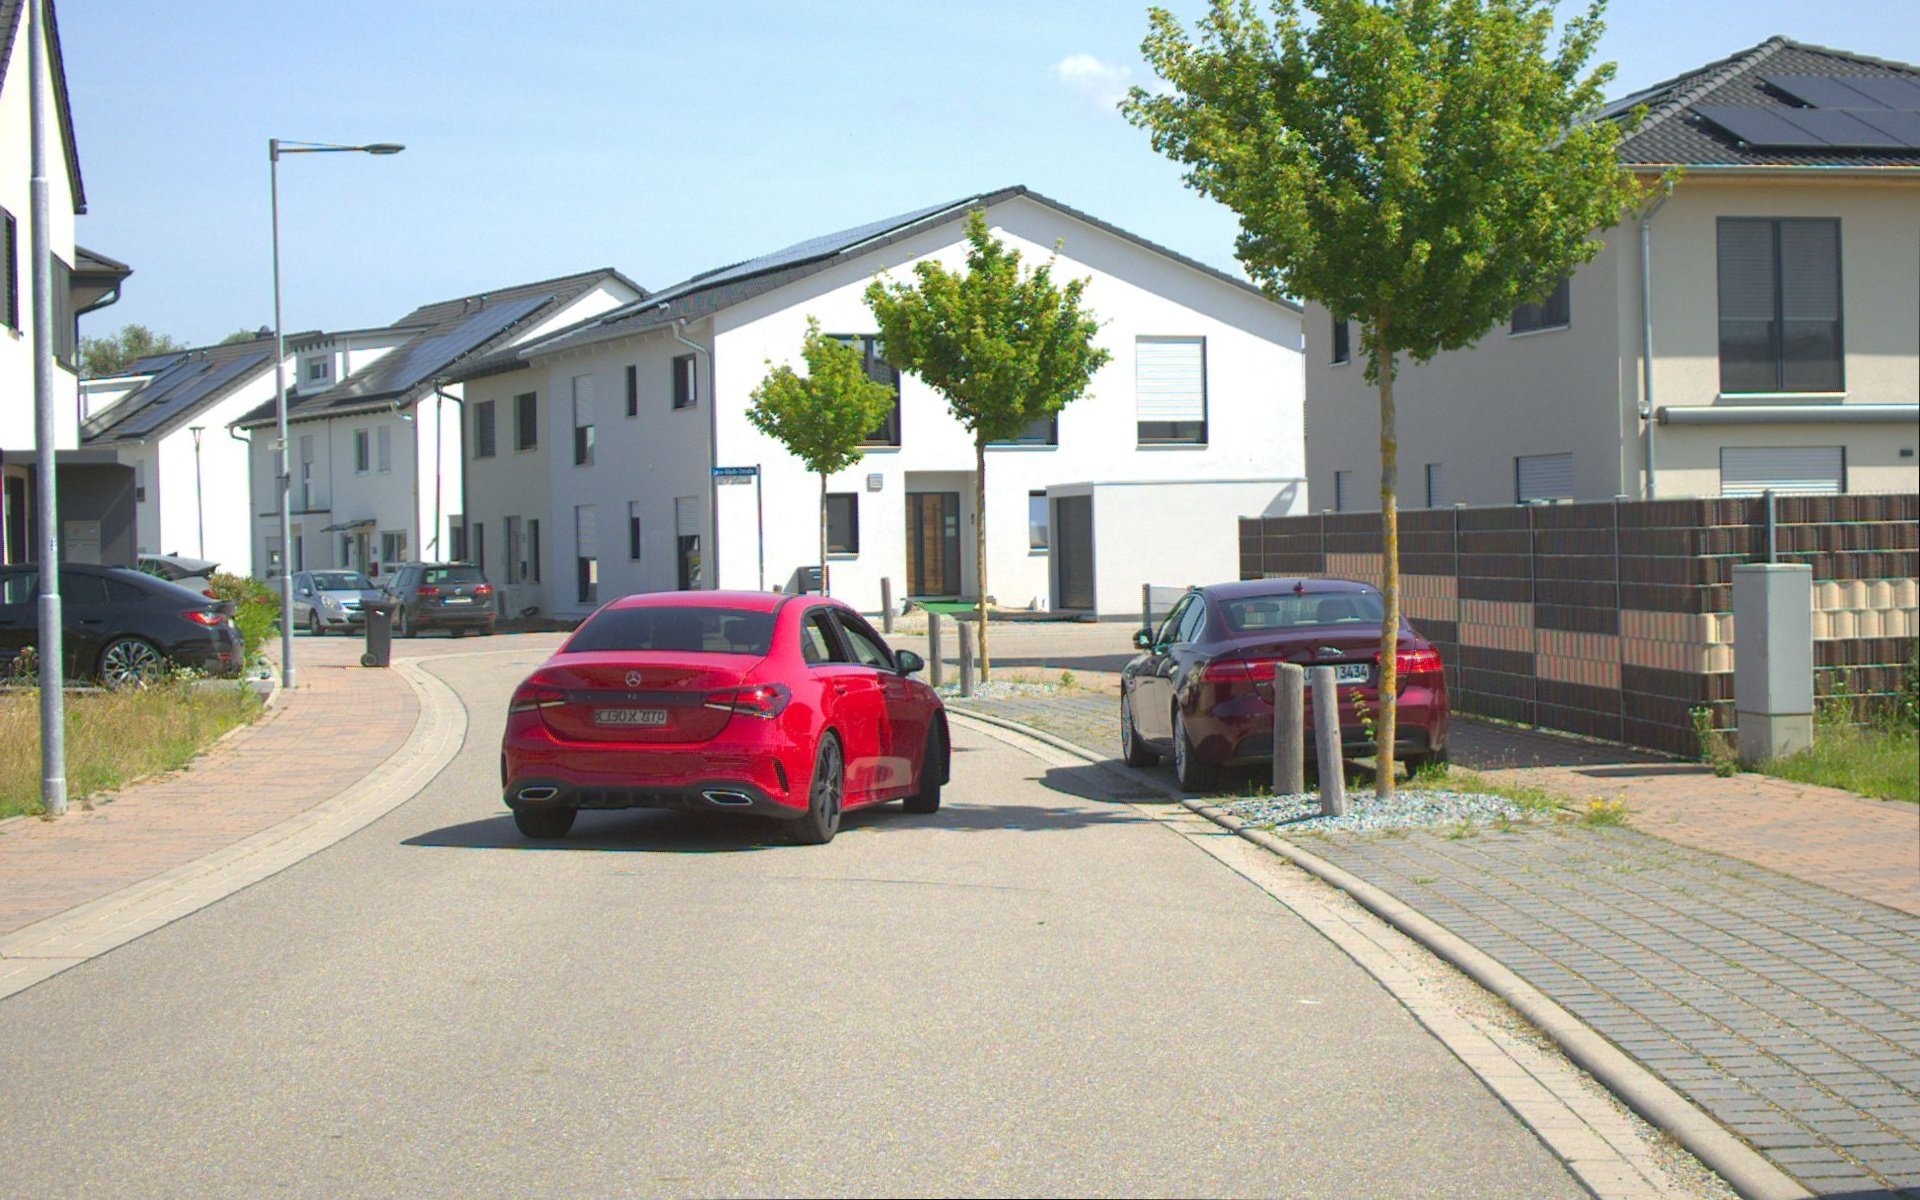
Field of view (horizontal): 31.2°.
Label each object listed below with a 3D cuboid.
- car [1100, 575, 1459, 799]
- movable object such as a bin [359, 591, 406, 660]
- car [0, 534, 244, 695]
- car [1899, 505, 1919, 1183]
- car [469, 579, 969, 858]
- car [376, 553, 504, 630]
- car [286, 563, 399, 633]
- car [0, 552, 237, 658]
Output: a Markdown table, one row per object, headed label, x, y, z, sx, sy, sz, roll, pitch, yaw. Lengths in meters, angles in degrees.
| label | x | y | z | sx | sy | sz | roll | pitch | yaw |
| --- | --- | --- | --- | --- | --- | --- | --- | --- | --- |
| car | 2.191 | 0.551 | 24.812 | 1.754 | 1.358 | 4.576 | -3 | 1 | -5 |
| movable object such as a bin | -7.954 | 0.346 | 47.344 | 0.534 | 0.933 | 0.526 | 1 | 1 | 1 |
| car | -9.977 | 0.120 | 36.768 | 4.374 | 1.626 | 1.771 | 2 | 0 | -8 |
| car | 2.905 | 0.557 | 5.779 | 1.598 | 1.470 | 3.675 | 0 | 1 | -1 |
| car | -1.286 | 0.608 | 20.449 | 1.763 | 1.433 | 4.517 | 0 | 1 | 12 |
| car | -10.171 | -0.179 | 67.046 | 1.726 | 1.418 | 4.001 | -2 | 1 | -19 |
| car | -13.748 | -0.058 | 76.346 | 1.676 | 1.459 | 3.945 | -2 | 1 | -22 |
| car | -12.553 | 0.062 | 49.595 | 3.986 | 1.481 | 1.754 | -1 | 1 | -6 |
